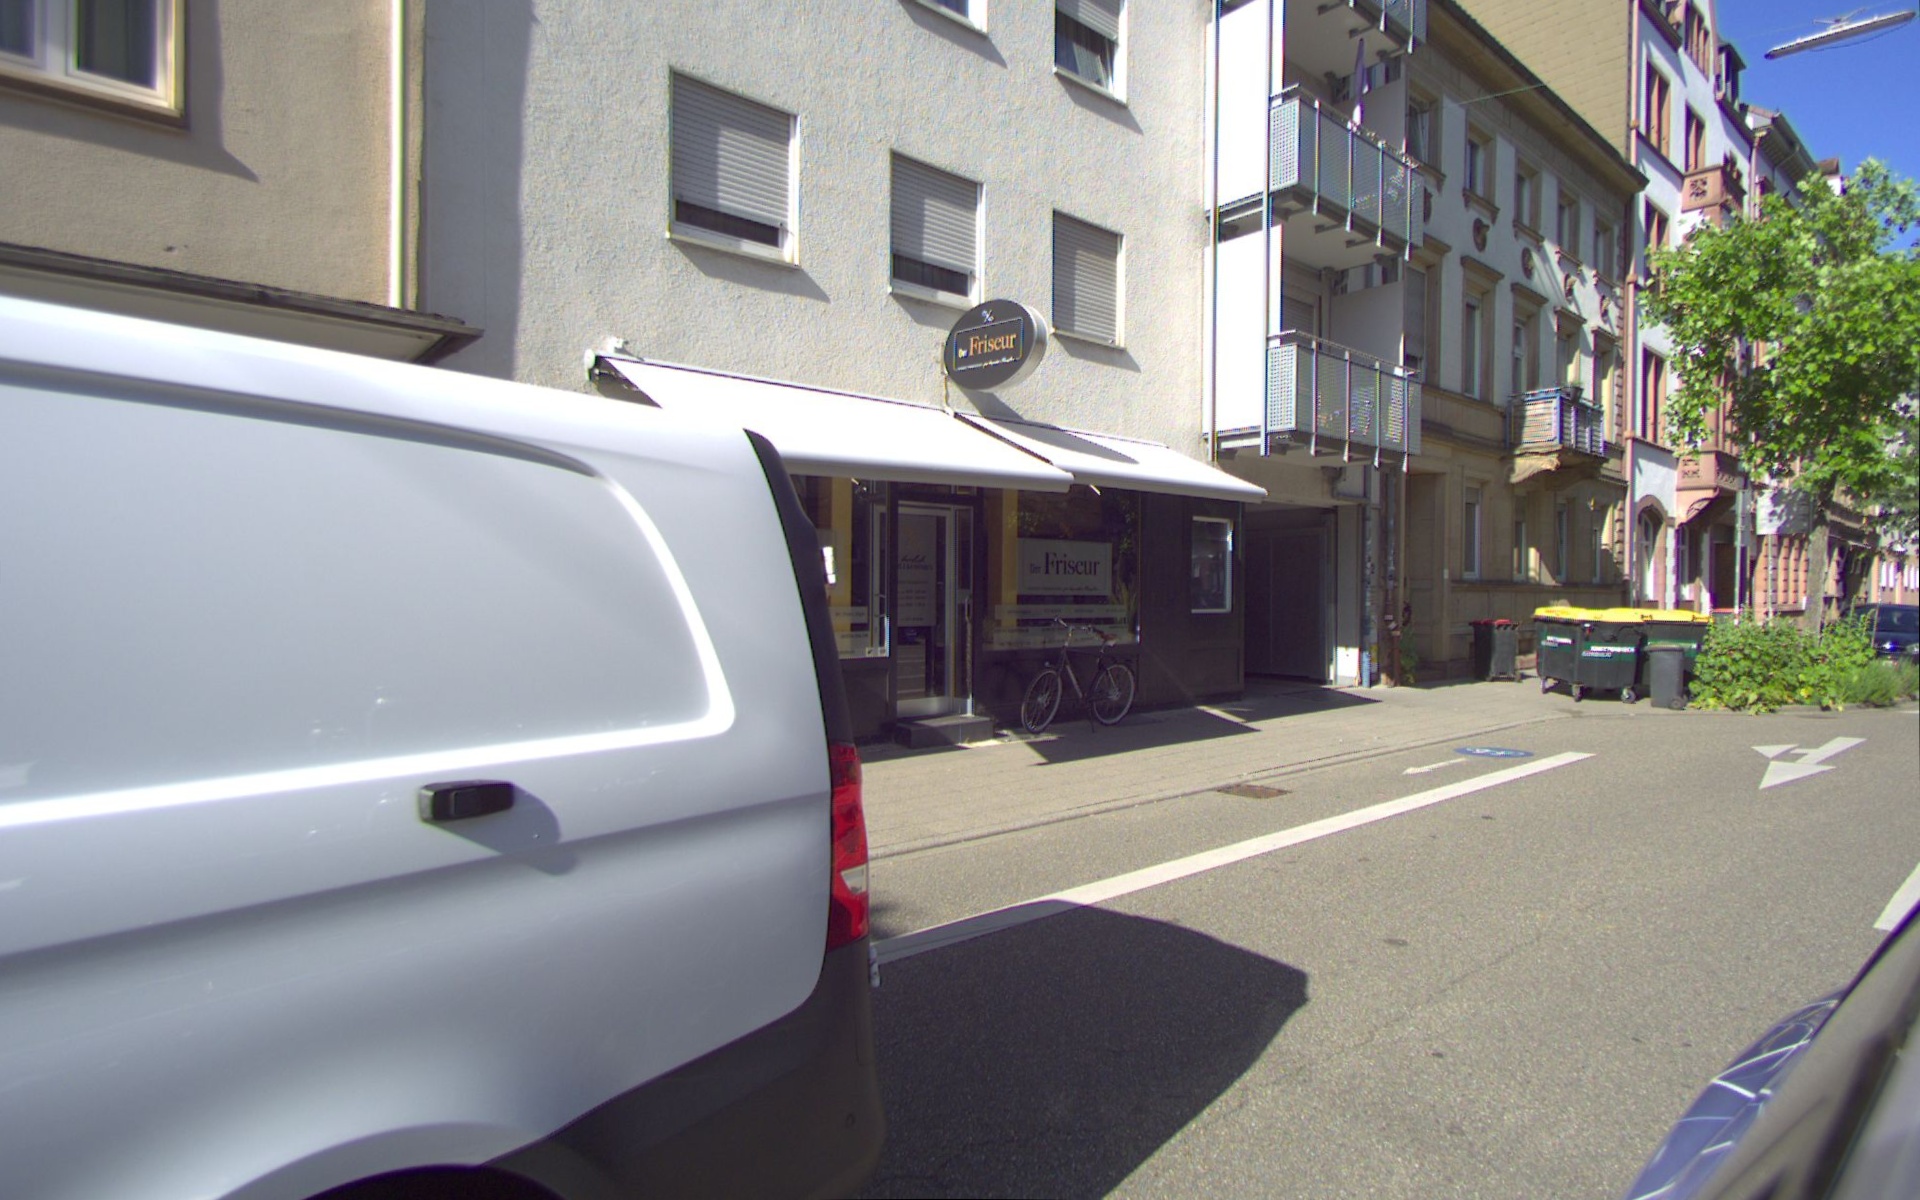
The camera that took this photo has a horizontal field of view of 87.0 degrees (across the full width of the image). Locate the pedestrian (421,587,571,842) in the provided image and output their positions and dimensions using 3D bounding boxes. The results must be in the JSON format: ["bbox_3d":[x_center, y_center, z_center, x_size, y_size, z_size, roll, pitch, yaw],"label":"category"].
[{"bbox_3d":[-2.888,0.648,6.289,0.774,1.460,0.615,0,0,45],"label":"pedestrian"}]

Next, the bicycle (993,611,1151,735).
[{"bbox_3d":[1.213,0.728,10.748,1.743,1.157,0.598,0,3,-41],"label":"bicycle"}]

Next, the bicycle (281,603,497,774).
[{"bbox_3d":[-3.644,0.525,6.507,1.155,0.995,0.375,0,1,-43],"label":"bicycle"}]

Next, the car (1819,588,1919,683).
[{"bbox_3d":[17.416,0.605,18.876,3.485,1.616,1.626,0,1,-41],"label":"car"}]

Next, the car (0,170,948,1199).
[{"bbox_3d":[-2.433,0.484,1.010,4.750,1.833,1.971,-1,1,-42],"label":"car"}]
